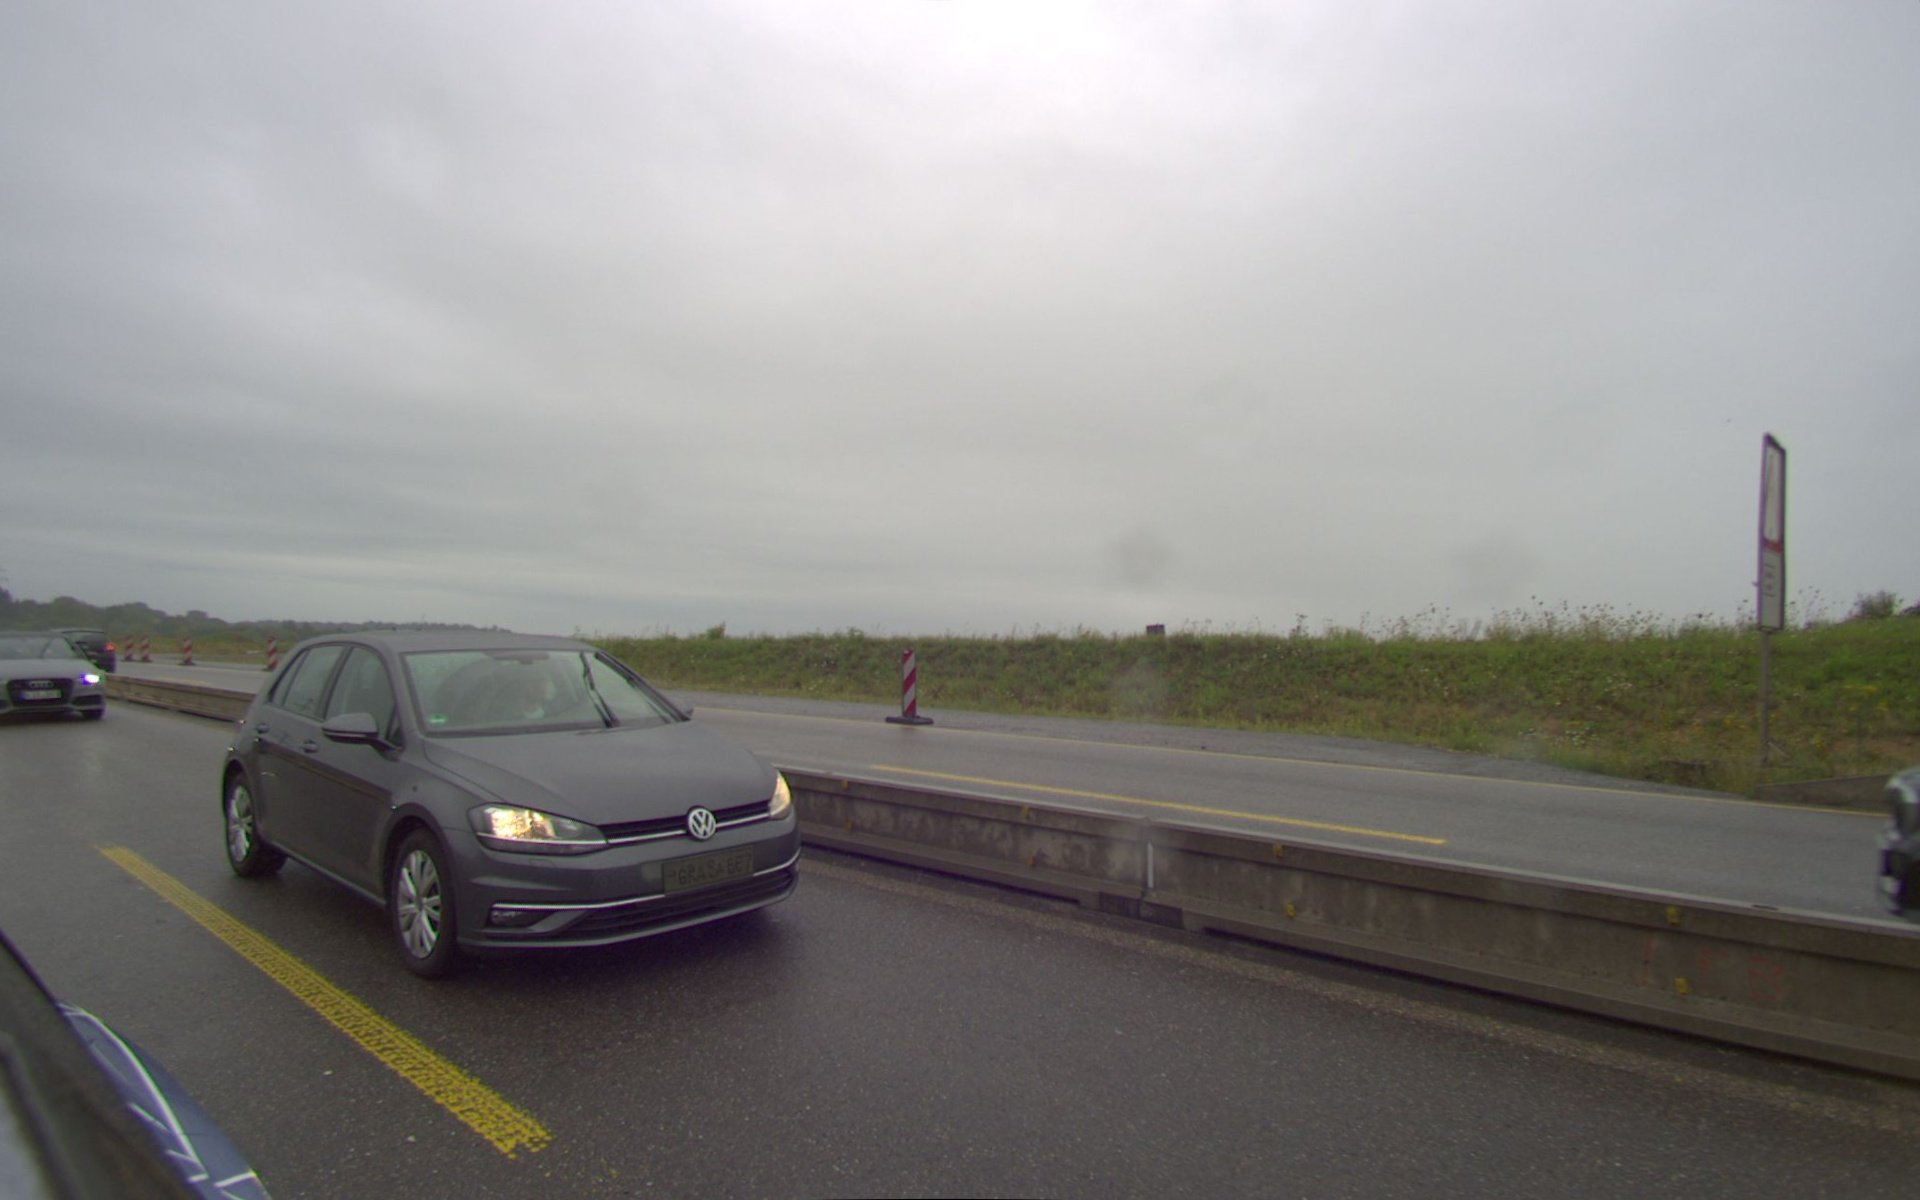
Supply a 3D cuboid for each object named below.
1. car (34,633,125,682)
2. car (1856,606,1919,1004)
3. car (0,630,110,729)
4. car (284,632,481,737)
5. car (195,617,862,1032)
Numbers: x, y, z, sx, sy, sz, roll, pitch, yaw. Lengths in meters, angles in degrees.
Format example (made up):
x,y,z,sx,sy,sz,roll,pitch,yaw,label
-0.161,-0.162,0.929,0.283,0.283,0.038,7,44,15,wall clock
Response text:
x,y,z,sx,sy,sz,roll,pitch,yaw,label
-28.688,1.824,32.940,4.458,1.454,1.593,-1,-1,40,car
6.203,0.779,3.261,4.892,1.597,1.898,-2,-2,41,car
-15.607,1.230,16.654,4.265,1.407,1.777,-1,-1,40,car
-9.421,1.283,16.403,3.730,1.477,1.648,-2,-2,41,car
-2.549,0.820,5.479,4.077,1.433,1.633,-1,-1,40,car
